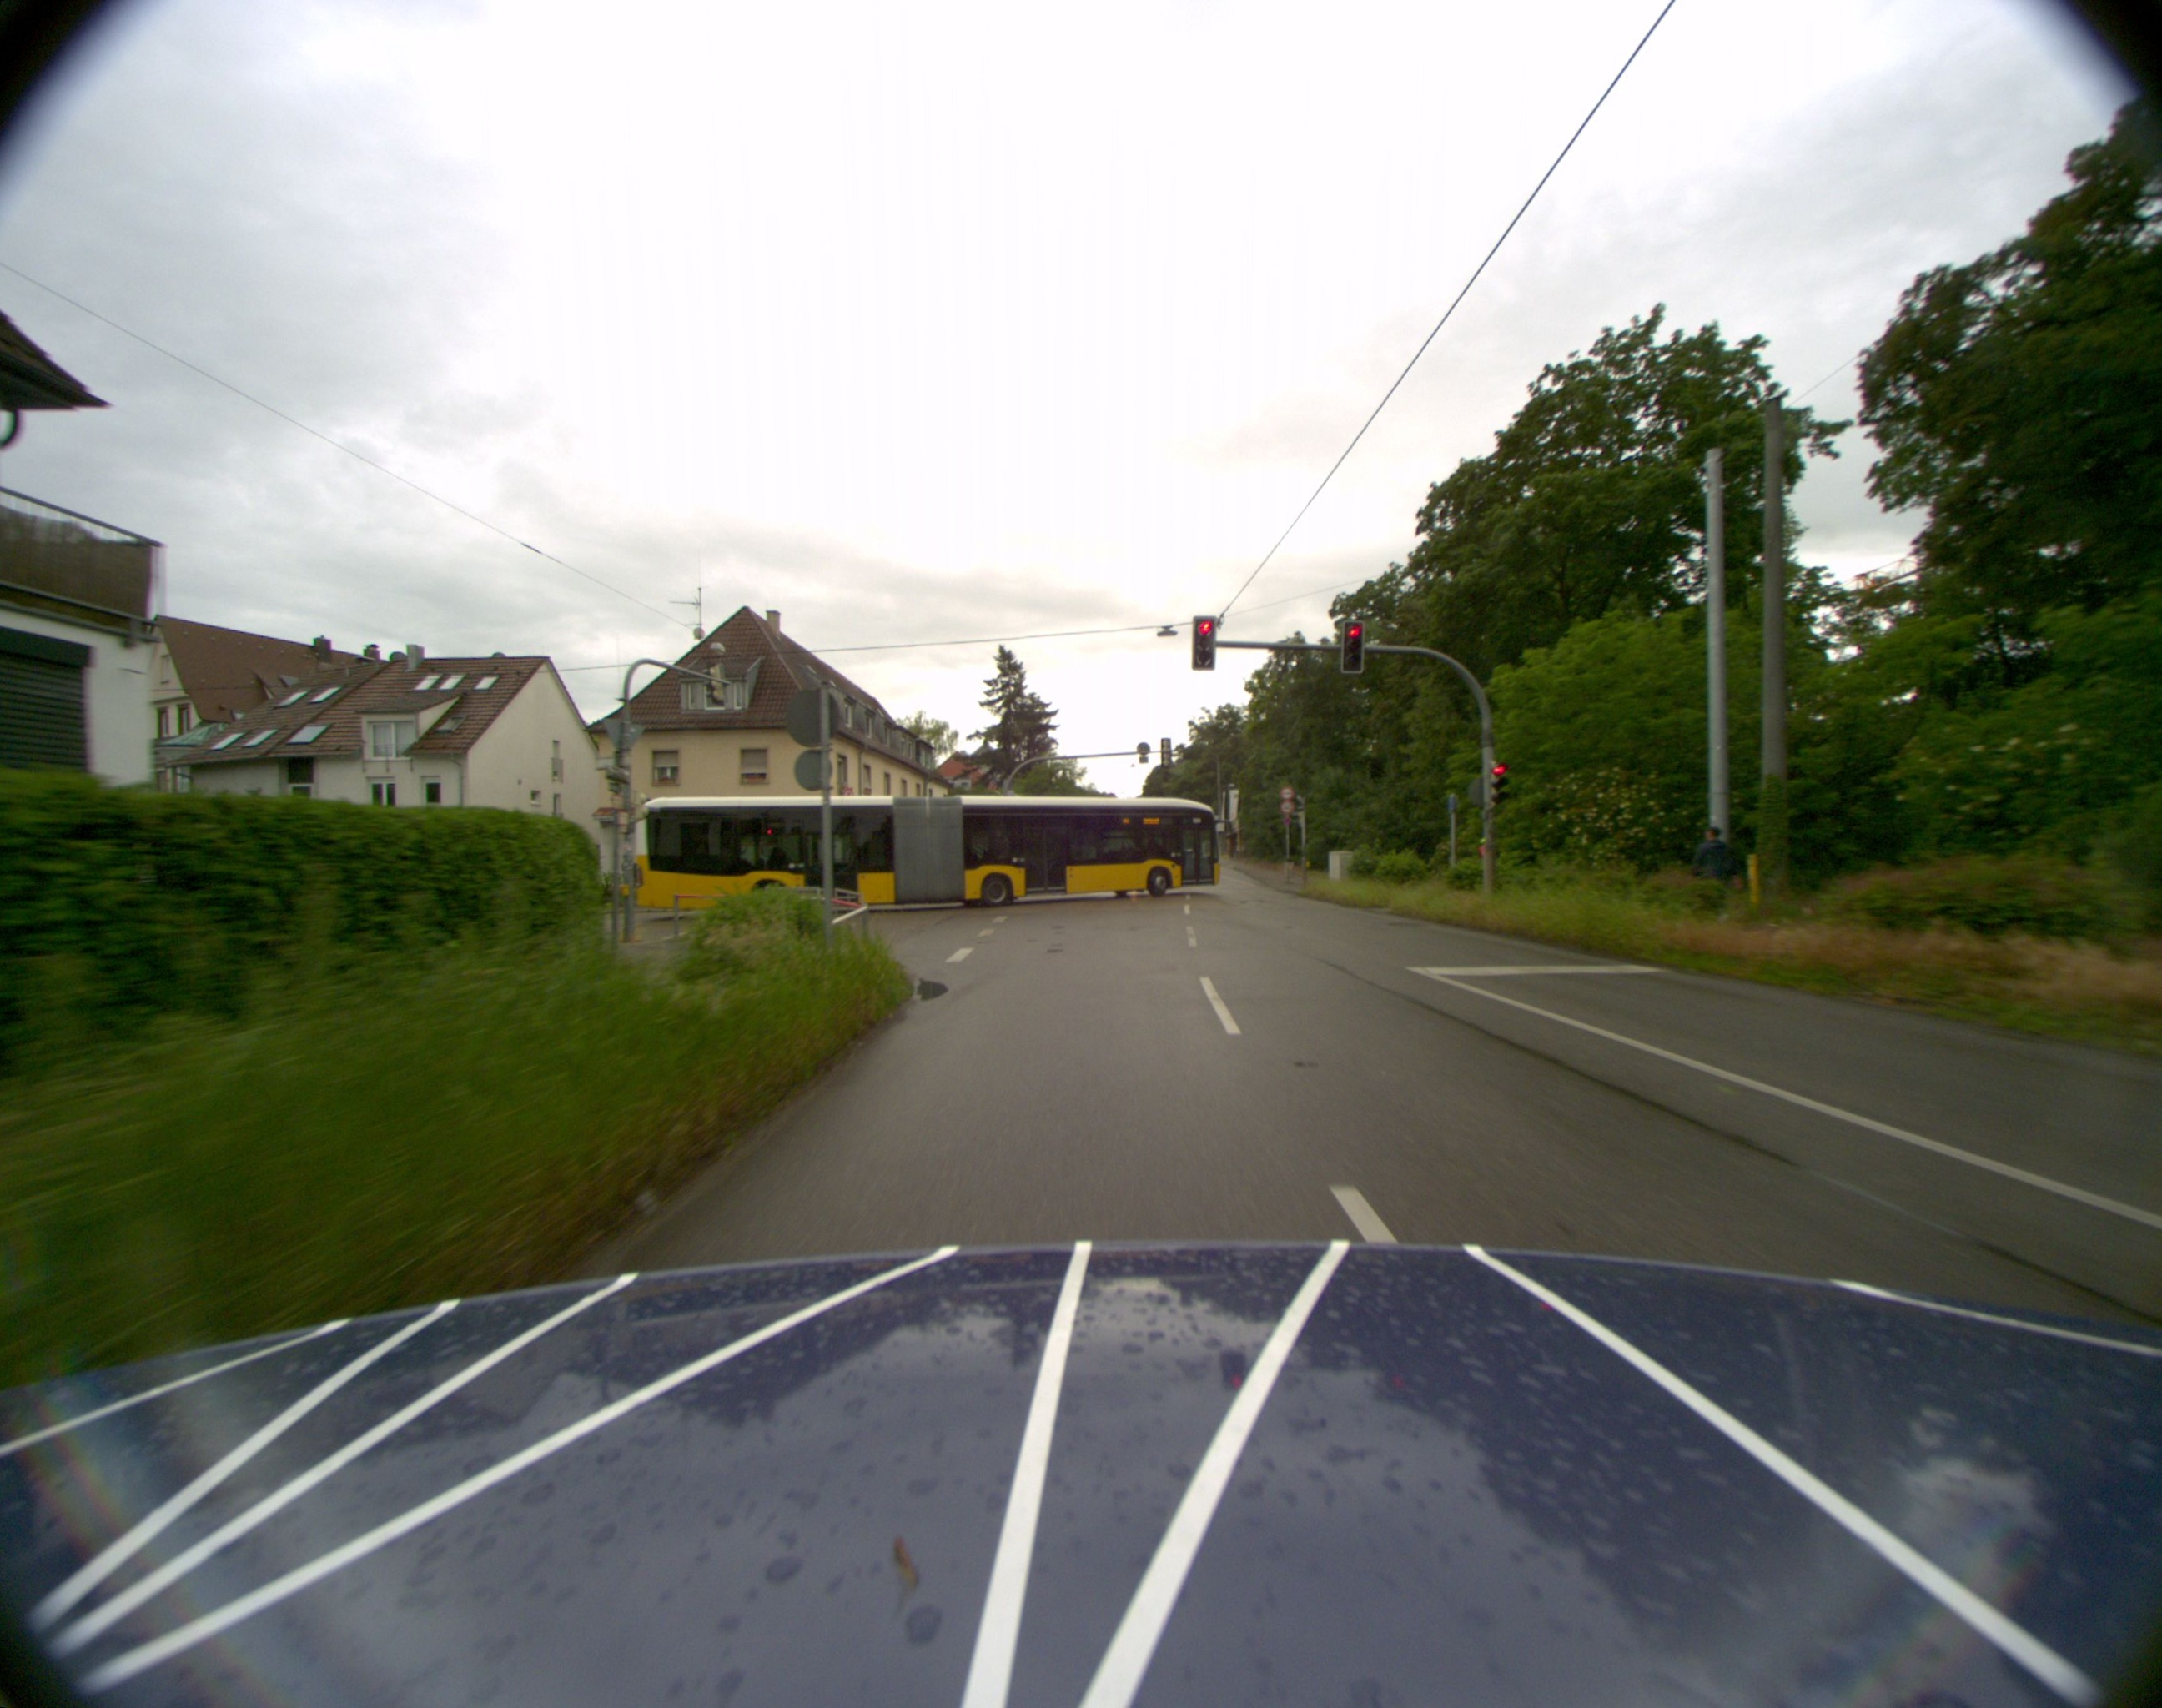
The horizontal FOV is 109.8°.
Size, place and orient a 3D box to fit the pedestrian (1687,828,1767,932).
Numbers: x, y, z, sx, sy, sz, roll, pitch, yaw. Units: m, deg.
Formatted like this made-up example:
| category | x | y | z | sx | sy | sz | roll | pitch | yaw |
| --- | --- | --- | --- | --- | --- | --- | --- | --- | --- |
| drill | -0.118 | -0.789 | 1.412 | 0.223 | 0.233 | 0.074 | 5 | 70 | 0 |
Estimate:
| category | x | y | z | sx | sy | sz | roll | pitch | yaw |
| --- | --- | --- | --- | --- | --- | --- | --- | --- | --- |
| pedestrian | 11.481 | 0.452 | 13.526 | 0.778 | 1.789 | 0.763 | -1 | 1 | 2 |

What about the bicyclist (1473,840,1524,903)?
| category | x | y | z | sx | sy | sz | roll | pitch | yaw |
| --- | --- | --- | --- | --- | --- | --- | --- | --- | --- |
| bicyclist | 11.146 | 0.466 | 20.318 | 1.047 | 1.643 | 0.580 | -2 | 2 | 6 |

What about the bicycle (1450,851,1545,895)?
| category | x | y | z | sx | sy | sz | roll | pitch | yaw |
| --- | --- | --- | --- | --- | --- | --- | --- | --- | --- |
| bicycle | 11.120 | 0.505 | 20.325 | 2.151 | 1.090 | 0.580 | -2 | 2 | 6 |

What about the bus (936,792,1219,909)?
| category | x | y | z | sx | sy | sz | roll | pitch | yaw |
| --- | --- | --- | --- | --- | --- | --- | --- | --- | --- |
| bus | 0.061 | -0.190 | 25.340 | 9.053 | 3.378 | 2.903 | -2 | 0 | -28 |

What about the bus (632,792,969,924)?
| category | x | y | z | sx | sy | sz | roll | pitch | yaw |
| --- | --- | --- | --- | --- | --- | --- | --- | --- | --- |
| bus | -7.755 | 0.044 | 22.156 | 8.682 | 3.378 | 2.683 | -2 | 0 | -12 |
